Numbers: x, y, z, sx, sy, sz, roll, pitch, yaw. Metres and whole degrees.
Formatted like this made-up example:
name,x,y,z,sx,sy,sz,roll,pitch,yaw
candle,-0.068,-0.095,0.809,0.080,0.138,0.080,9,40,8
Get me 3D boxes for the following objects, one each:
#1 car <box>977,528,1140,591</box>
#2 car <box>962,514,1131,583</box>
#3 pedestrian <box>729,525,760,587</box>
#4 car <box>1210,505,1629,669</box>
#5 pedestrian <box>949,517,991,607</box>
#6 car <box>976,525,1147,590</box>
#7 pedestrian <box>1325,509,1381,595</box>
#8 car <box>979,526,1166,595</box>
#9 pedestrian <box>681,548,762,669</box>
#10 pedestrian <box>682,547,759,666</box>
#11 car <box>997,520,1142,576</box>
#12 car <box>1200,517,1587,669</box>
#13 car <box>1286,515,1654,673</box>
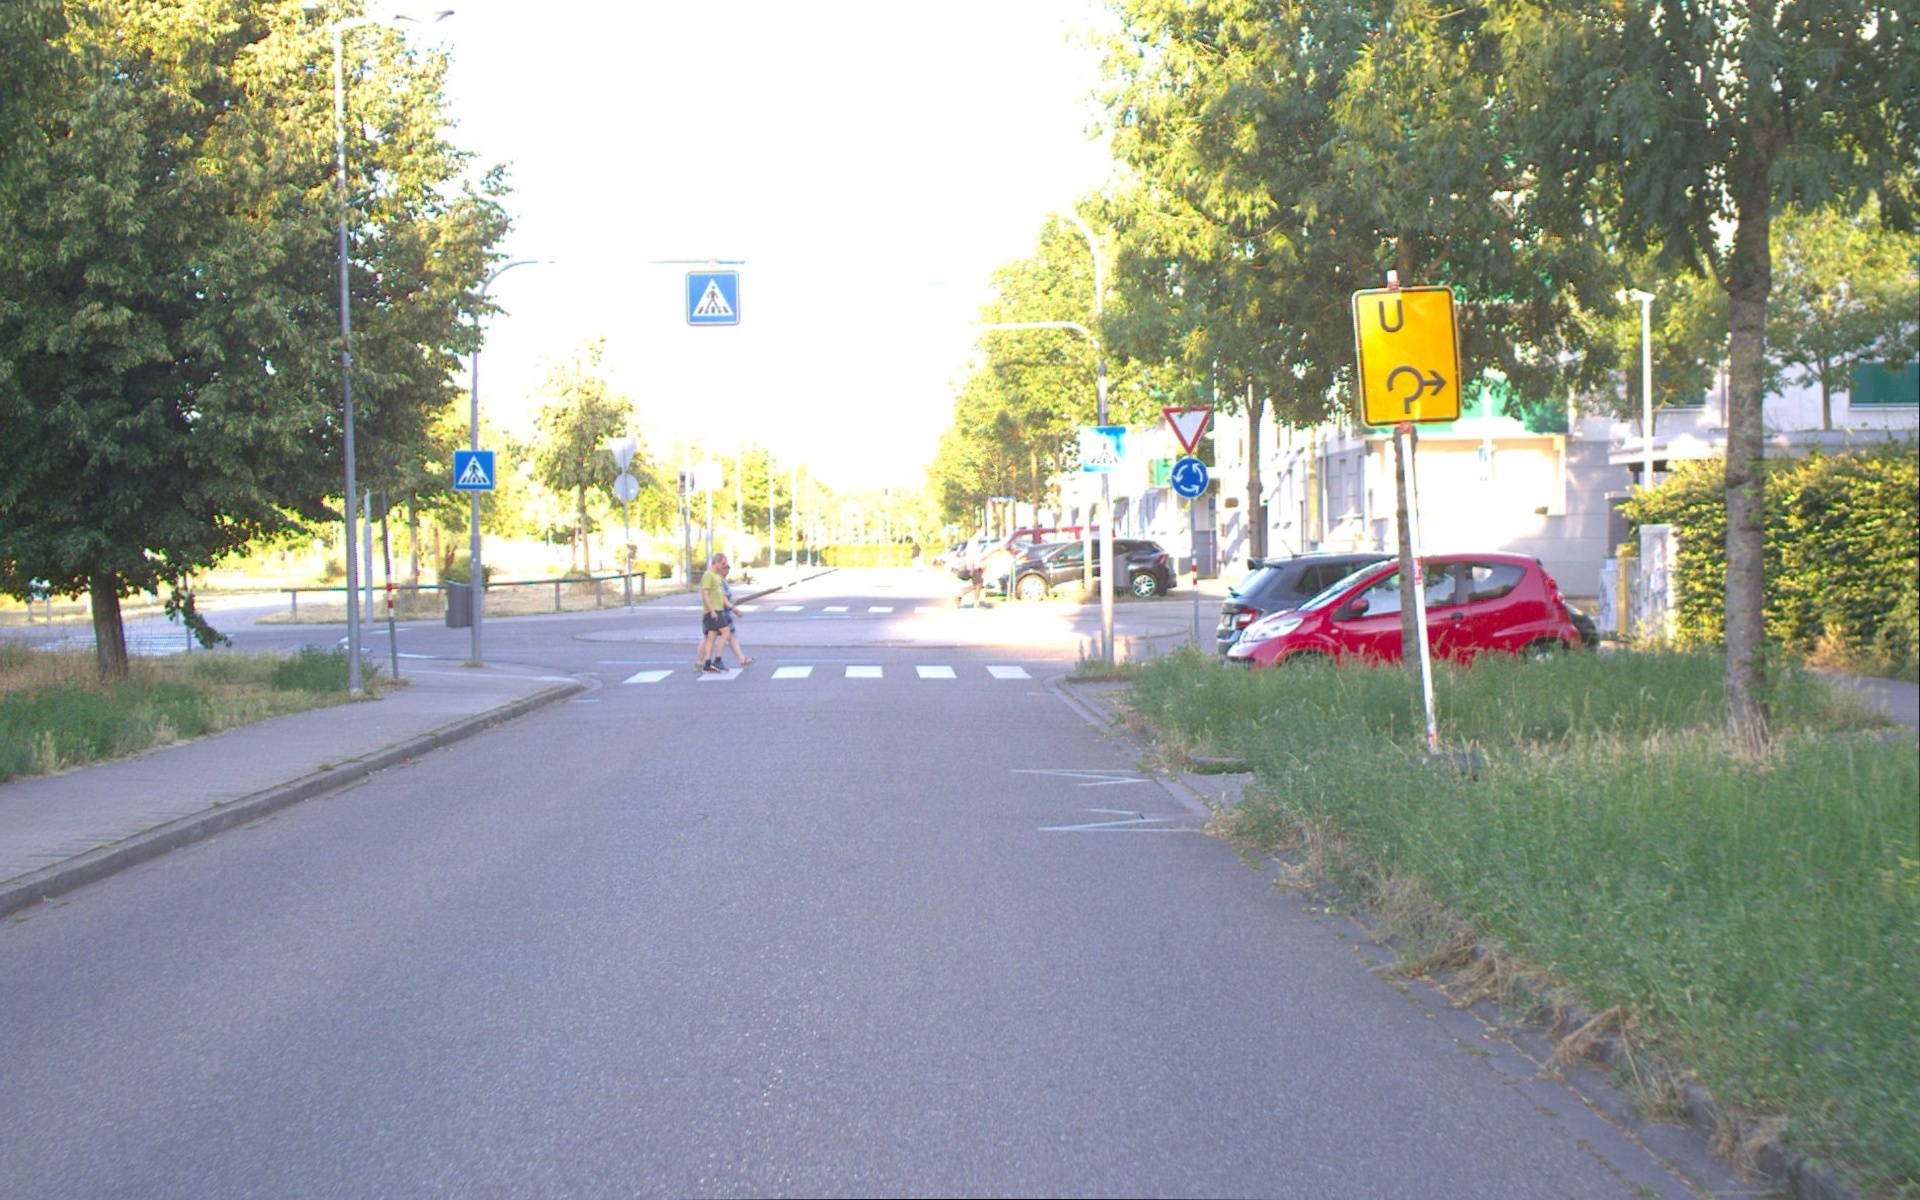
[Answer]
name,x,y,z,sx,sy,sz,roll,pitch,yaw
car,2.611,-1.091,91.882,4.263,1.590,2.000,-1,1,0
car,2.672,-1.611,107.168,5.002,2.038,2.251,-1,1,-5
pedestrian,-7.011,-1.442,111.859,0.866,2.007,0.790,-1,1,-11
car,4.445,-0.143,33.592,3.802,1.503,1.679,-1,1,-3
pedestrian,0.219,-0.853,77.027,0.846,2.007,0.943,-1,1,5
car,2.602,-1.111,89.152,4.355,1.590,2.000,-1,1,0
pedestrian,8.283,-1.010,72.514,1.003,1.782,0.762,0,1,-7
car,2.719,-0.974,83.987,4.484,1.590,2.000,-1,1,0
pedestrian,-3.393,0.116,48.865,1.018,1.687,0.760,-1,1,-12
pedestrian,-3.457,0.087,49.577,0.983,1.687,0.700,-1,1,-12
car,3.303,-1.582,104.121,4.263,1.590,2.000,-1,1,-1
car,4.533,-0.089,36.279,3.802,1.503,1.679,-1,1,-3
car,5.772,-0.091,39.110,3.802,1.503,1.680,-2,5,-6
